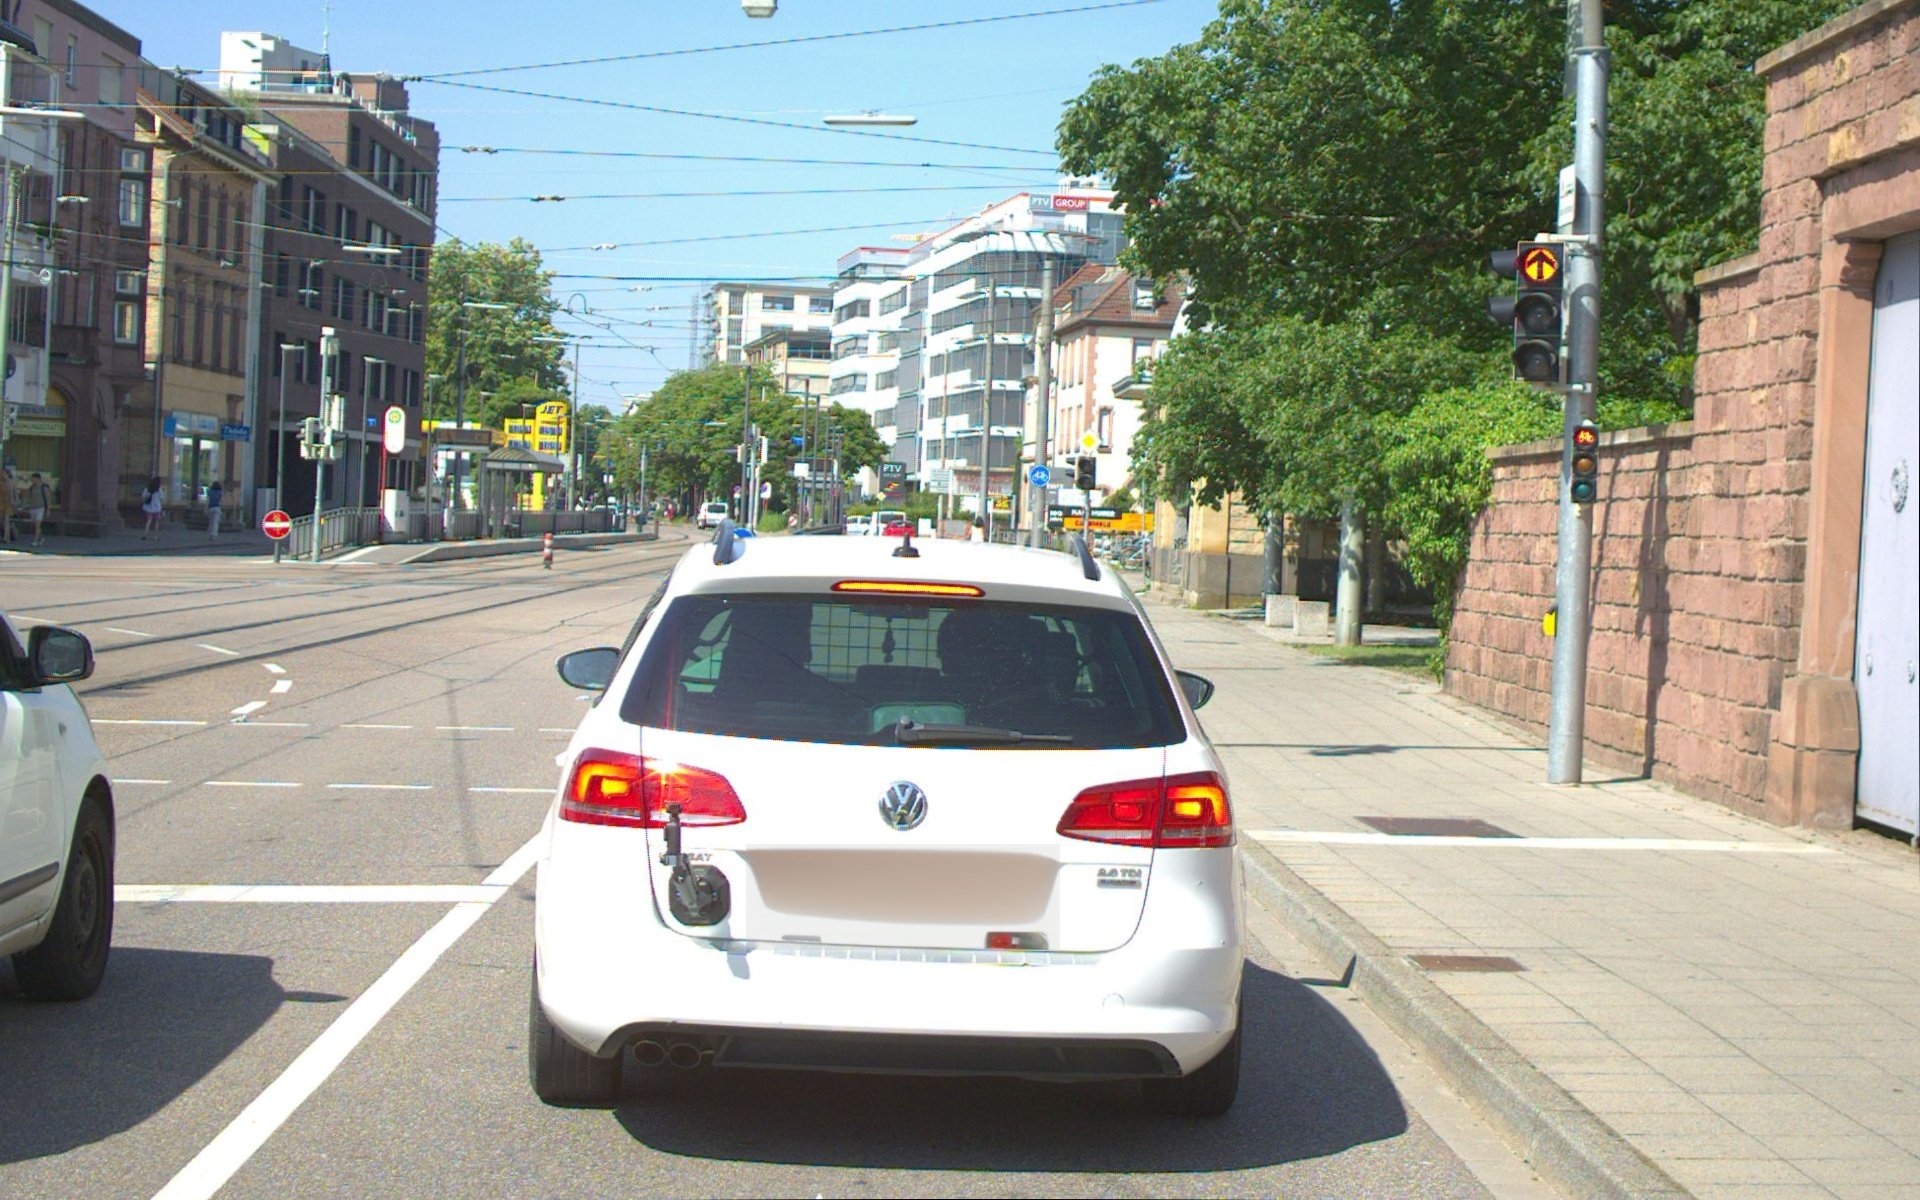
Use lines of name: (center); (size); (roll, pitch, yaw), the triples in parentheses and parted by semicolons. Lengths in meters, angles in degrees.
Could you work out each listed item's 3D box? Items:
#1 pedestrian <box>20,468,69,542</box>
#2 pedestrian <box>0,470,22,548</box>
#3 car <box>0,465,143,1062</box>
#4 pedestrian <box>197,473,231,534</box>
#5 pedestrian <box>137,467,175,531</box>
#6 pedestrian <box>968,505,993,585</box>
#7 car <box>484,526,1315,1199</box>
pedestrian: (-21.806, -2.267, 81.892); (0.862, 1.737, 0.975); (1, 0, 4)
pedestrian: (-21.735, -2.045, 77.313); (0.972, 1.737, 0.864); (0, 0, -40)
car: (-3.330, 0.434, 8.734); (1.642, 1.561, 3.804); (1, 2, -1)
pedestrian: (-21.687, -2.810, 99.947); (0.861, 1.737, 0.975); (1, 0, -6)
pedestrian: (-21.997, -2.763, 94.068); (0.861, 1.737, 0.975); (1, 0, -6)
pedestrian: (0.607, -1.589, 99.929); (0.690, 2.317, 1.232); (1, 0, 1)
car: (-0.161, 0.540, 9.562); (1.808, 1.443, 4.000); (1, 1, -1)
